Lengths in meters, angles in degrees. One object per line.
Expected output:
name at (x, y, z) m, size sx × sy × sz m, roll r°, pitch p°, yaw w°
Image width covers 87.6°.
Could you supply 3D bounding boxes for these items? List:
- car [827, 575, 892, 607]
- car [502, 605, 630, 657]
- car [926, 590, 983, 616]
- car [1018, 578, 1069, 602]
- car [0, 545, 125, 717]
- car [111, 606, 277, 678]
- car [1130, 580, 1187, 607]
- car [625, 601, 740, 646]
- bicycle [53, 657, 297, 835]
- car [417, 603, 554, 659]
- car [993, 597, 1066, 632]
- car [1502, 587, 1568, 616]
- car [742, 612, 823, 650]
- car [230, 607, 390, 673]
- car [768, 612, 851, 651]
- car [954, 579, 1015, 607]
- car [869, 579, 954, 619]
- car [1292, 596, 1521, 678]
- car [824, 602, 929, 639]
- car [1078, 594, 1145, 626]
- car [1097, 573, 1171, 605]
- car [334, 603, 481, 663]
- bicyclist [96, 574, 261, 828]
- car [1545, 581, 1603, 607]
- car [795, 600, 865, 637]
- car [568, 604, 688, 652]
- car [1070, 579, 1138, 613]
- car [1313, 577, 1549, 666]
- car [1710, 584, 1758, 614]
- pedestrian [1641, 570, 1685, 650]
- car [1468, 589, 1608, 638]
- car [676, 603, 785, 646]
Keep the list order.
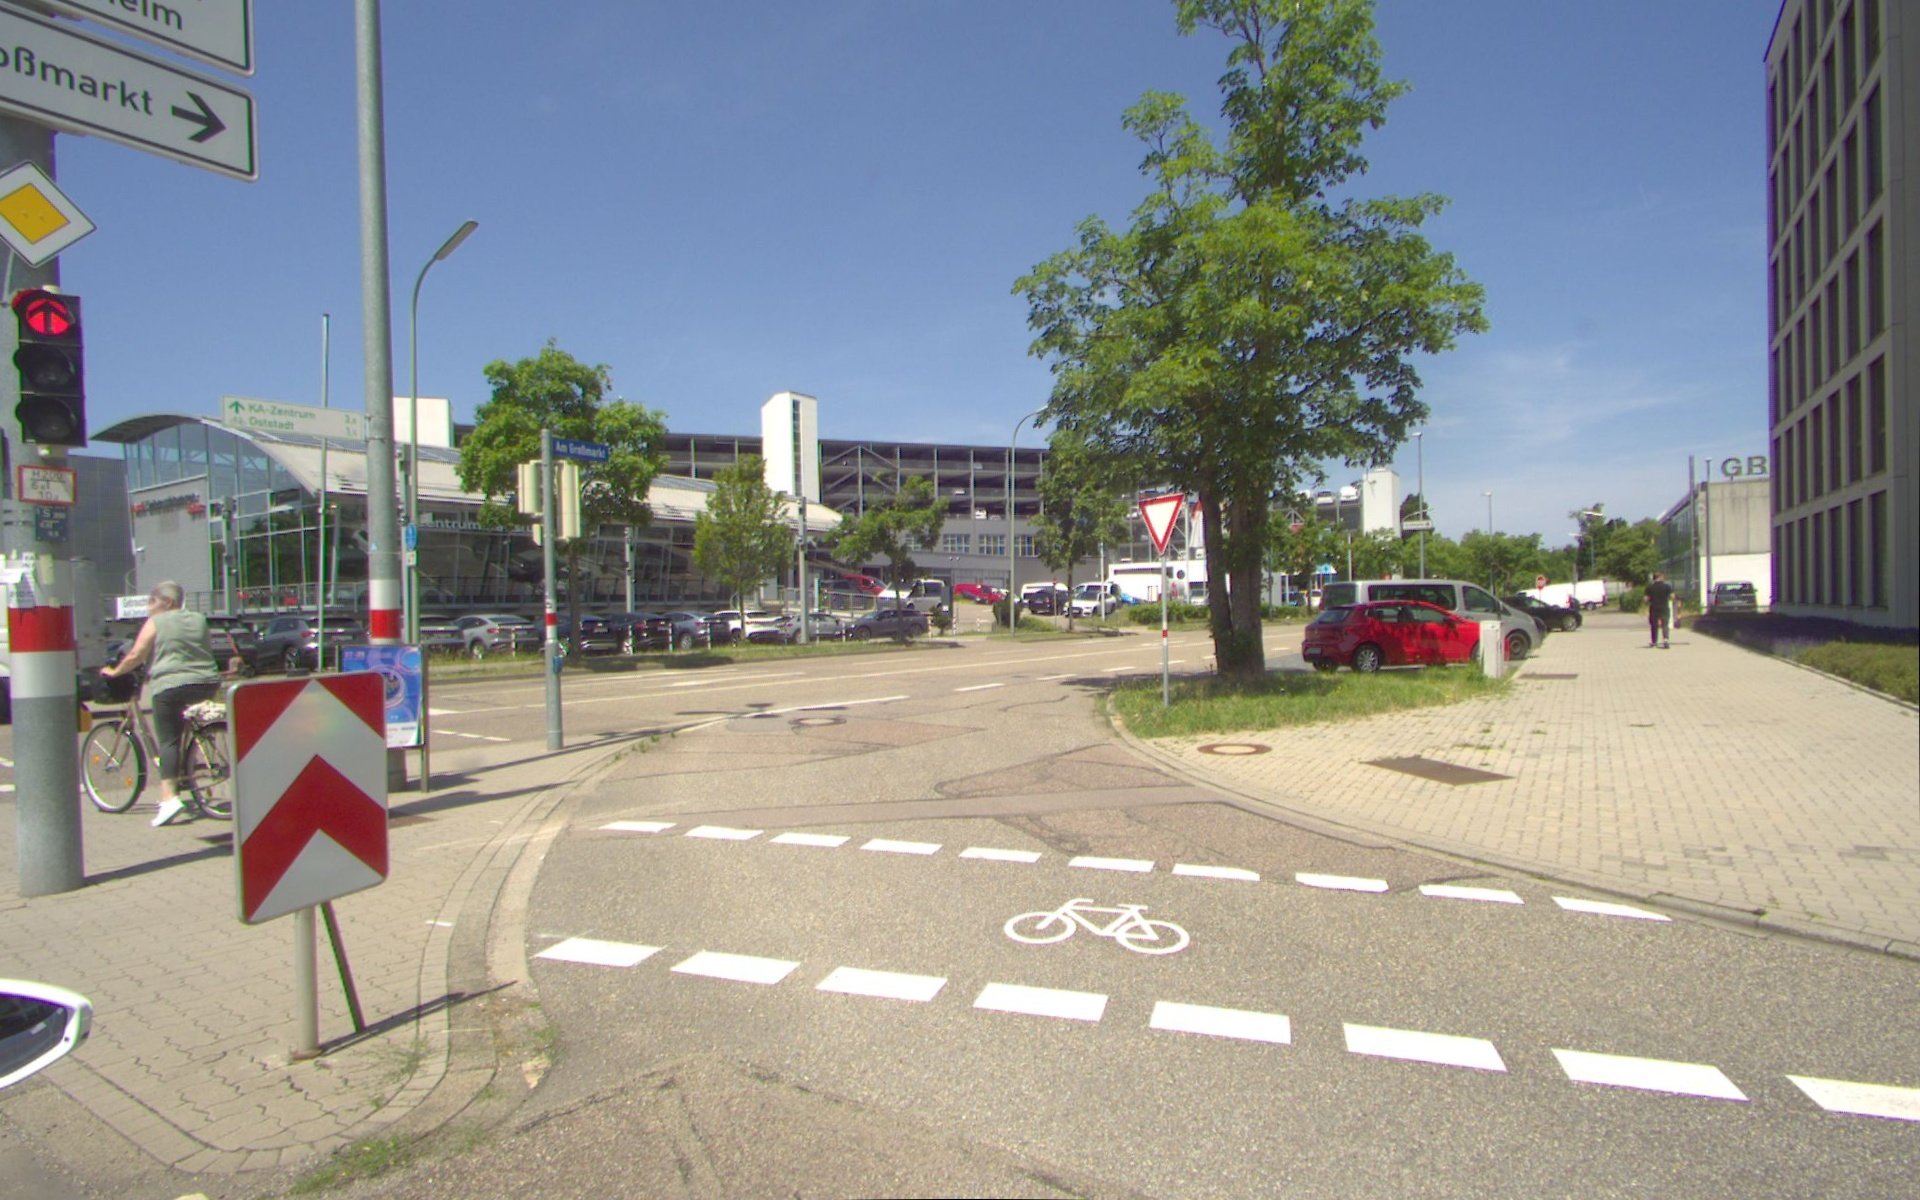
car at (-6.752, -0.569, 67.347) m, size 3.937 × 2.040 × 1.992 m, roll -1°, pitch 0°, yaw 27°
car at (-13.576, 1.023, 34.451) m, size 4.410 × 1.662 × 1.823 m, roll -1°, pitch 1°, yaw 32°
car at (-0.418, 0.234, 74.475) m, size 3.943 × 1.810 × 1.730 m, roll -1°, pitch 0°, yaw 32°
car at (7.672, -0.919, 91.961) m, size 4.257 × 2.040 × 1.989 m, roll -1°, pitch 0°, yaw 32°
car at (-16.377, 0.496, 14.925) m, size 5.718 × 2.567 × 2.092 m, roll 0°, pitch -1°, yaw -30°
car at (-19.413, 0.999, 25.345) m, size 4.207 × 1.661 × 1.989 m, roll -1°, pitch 0°, yaw 32°
car at (15.516, -0.495, 78.269) m, size 3.945 × 2.040 × 1.988 m, roll -1°, pitch 0°, yaw 34°
car at (-10.841, 0.894, 39.048) m, size 4.410 × 1.662 × 1.823 m, roll -1°, pitch 1°, yaw 32°
bicycle at (-5.966, 1.035, 7.594) m, size 1.891 × 1.142 × 0.786 m, roll 0°, pitch 0°, yaw 29°
car at (-15.216, 0.959, 32.058) m, size 4.460 × 1.662 × 1.881 m, roll -1°, pitch 1°, yaw 32°
car at (4.242, 0.883, 60.873) m, size 3.943 × 2.040 × 1.989 m, roll -1°, pitch 0°, yaw 32°
car at (41.666, 0.130, 72.535) m, size 3.949 × 2.040 × 1.986 m, roll -1°, pitch 0°, yaw 37°
car at (-9.112, 1.557, 51.434) m, size 3.712 × 1.795 × 1.761 m, roll -1°, pitch 0°, yaw -28°
car at (-17.908, 1.041, 27.538) m, size 4.492 × 1.661 × 1.989 m, roll -1°, pitch 0°, yaw 32°
car at (-7.410, 1.516, 49.338) m, size 3.659 × 1.801 × 1.739 m, roll -1°, pitch 0°, yaw -31°
car at (1.876, -0.557, 77.818) m, size 4.286 × 2.040 × 1.990 m, roll -1°, pitch 0°, yaw 30°
car at (-2.557, -0.054, 54.036) m, size 1.972 × 2.040 × 5.117 m, roll -1°, pitch 0°, yaw 32°
car at (8.918, 0.704, 20.120) m, size 3.924 × 1.454 × 1.609 m, roll -2°, pitch 0°, yaw -8°
car at (-3.922, 0.940, 47.613) m, size 4.702 × 1.662 × 1.821 m, roll -1°, pitch 1°, yaw -35°
car at (10.103, 0.672, 66.873) m, size 3.943 × 2.040 × 1.989 m, roll -1°, pitch 0°, yaw 32°
car at (11.941, -0.754, 68.893) m, size 4.578 × 2.040 × 1.989 m, roll -1°, pitch 0°, yaw 32°
car at (-16.639, 0.961, 30.108) m, size 4.377 × 1.661 × 1.989 m, roll -1°, pitch 1°, yaw 32°
bicyclist at (-5.836, 0.714, 7.491) m, size 0.742 × 1.772 × 0.733 m, roll 0°, pitch 0°, yaw 28°
car at (55.261, -0.524, 90.184) m, size 4.304 × 2.149 × 2.080 m, roll -1°, pitch 0°, yaw 36°
car at (-7.513, 1.046, 58.239) m, size 1.839 × 2.040 × 3.733 m, roll -1°, pitch 0°, yaw 41°
car at (-12.230, 0.999, 36.796) m, size 4.410 × 1.662 × 1.823 m, roll -1°, pitch 1°, yaw 32°
car at (9.200, -0.234, 64.037) m, size 3.943 × 2.040 × 1.840 m, roll -1°, pitch 0°, yaw 32°
car at (10.864, 0.477, 23.199) m, size 4.814 × 1.839 × 1.704 m, roll -2°, pitch 0°, yaw -10°
car at (42.068, -0.043, 54.479) m, size 1.765 × 1.542 × 3.556 m, roll -2°, pitch 0°, yaw 33°
pedestrian at (17.059, 0.244, 24.290) m, size 0.764 × 1.869 × 0.861 m, roll -2°, pitch 0°, yaw 40°
car at (21.444, 0.519, 37.289) m, size 4.075 × 1.558 × 1.815 m, roll -3°, pitch -1°, yaw 2°
car at (-9.506, 0.988, 41.374) m, size 4.410 × 1.662 × 1.823 m, roll -1°, pitch 1°, yaw 32°
